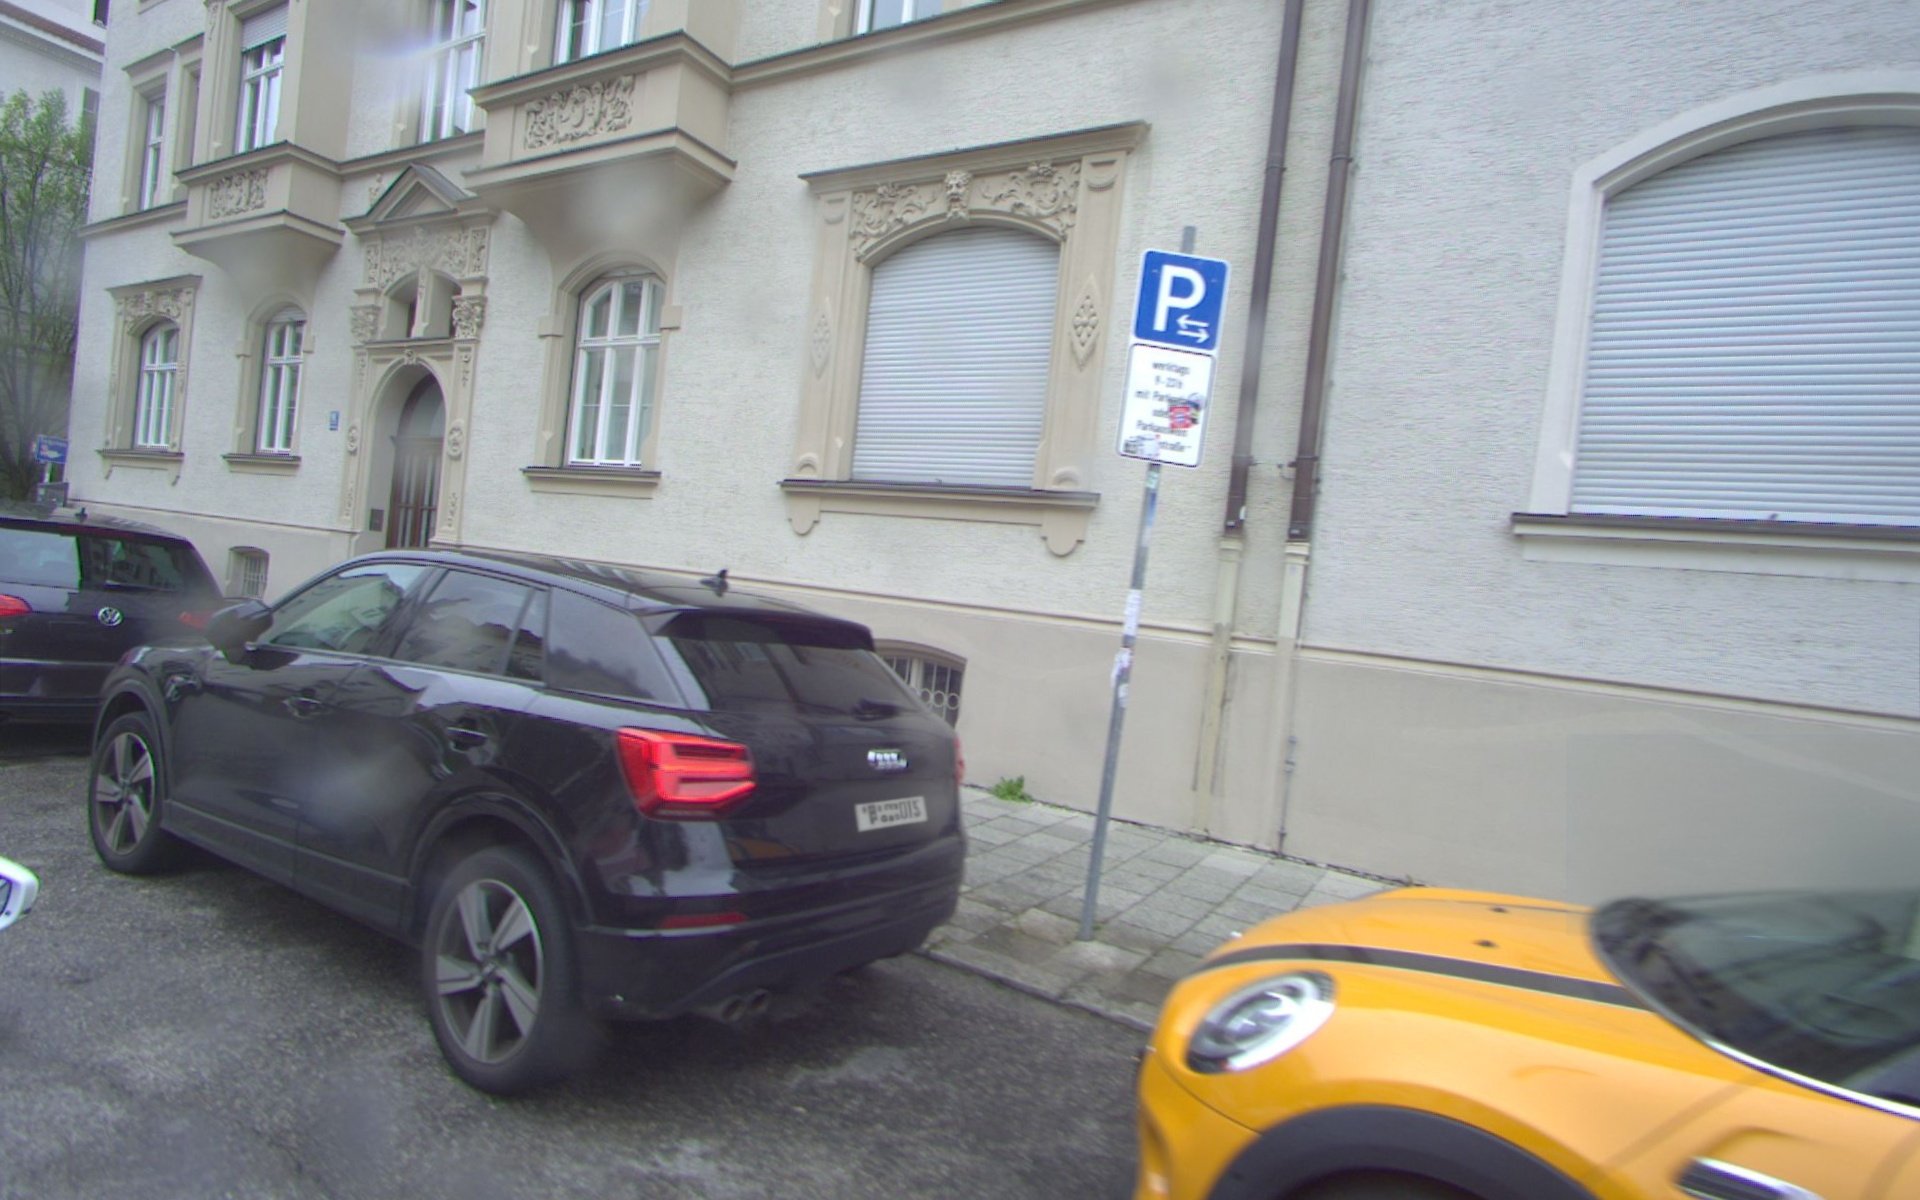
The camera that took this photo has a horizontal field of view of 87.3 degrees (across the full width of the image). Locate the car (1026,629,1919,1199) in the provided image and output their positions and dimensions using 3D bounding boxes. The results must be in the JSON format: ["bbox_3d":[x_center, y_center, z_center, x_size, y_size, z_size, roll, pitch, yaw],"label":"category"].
[{"bbox_3d":[2.100,1.014,1.823,3.538,1.458,1.657,7,1,32],"label":"car"}]

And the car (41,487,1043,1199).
[{"bbox_3d":[-1.862,0.539,4.140,3.892,1.534,1.745,7,0,32],"label":"car"}]

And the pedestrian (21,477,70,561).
[{"bbox_3d":[-20.675,-1.826,22.749,0.545,1.817,0.572,7,2,30],"label":"pedestrian"}]

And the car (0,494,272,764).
[{"bbox_3d":[-6.541,0.002,6.766,3.934,1.435,1.644,7,0,32],"label":"car"}]

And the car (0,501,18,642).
[{"bbox_3d":[-10.758,-0.428,9.457,3.956,1.414,1.745,6,-2,32],"label":"car"}]
